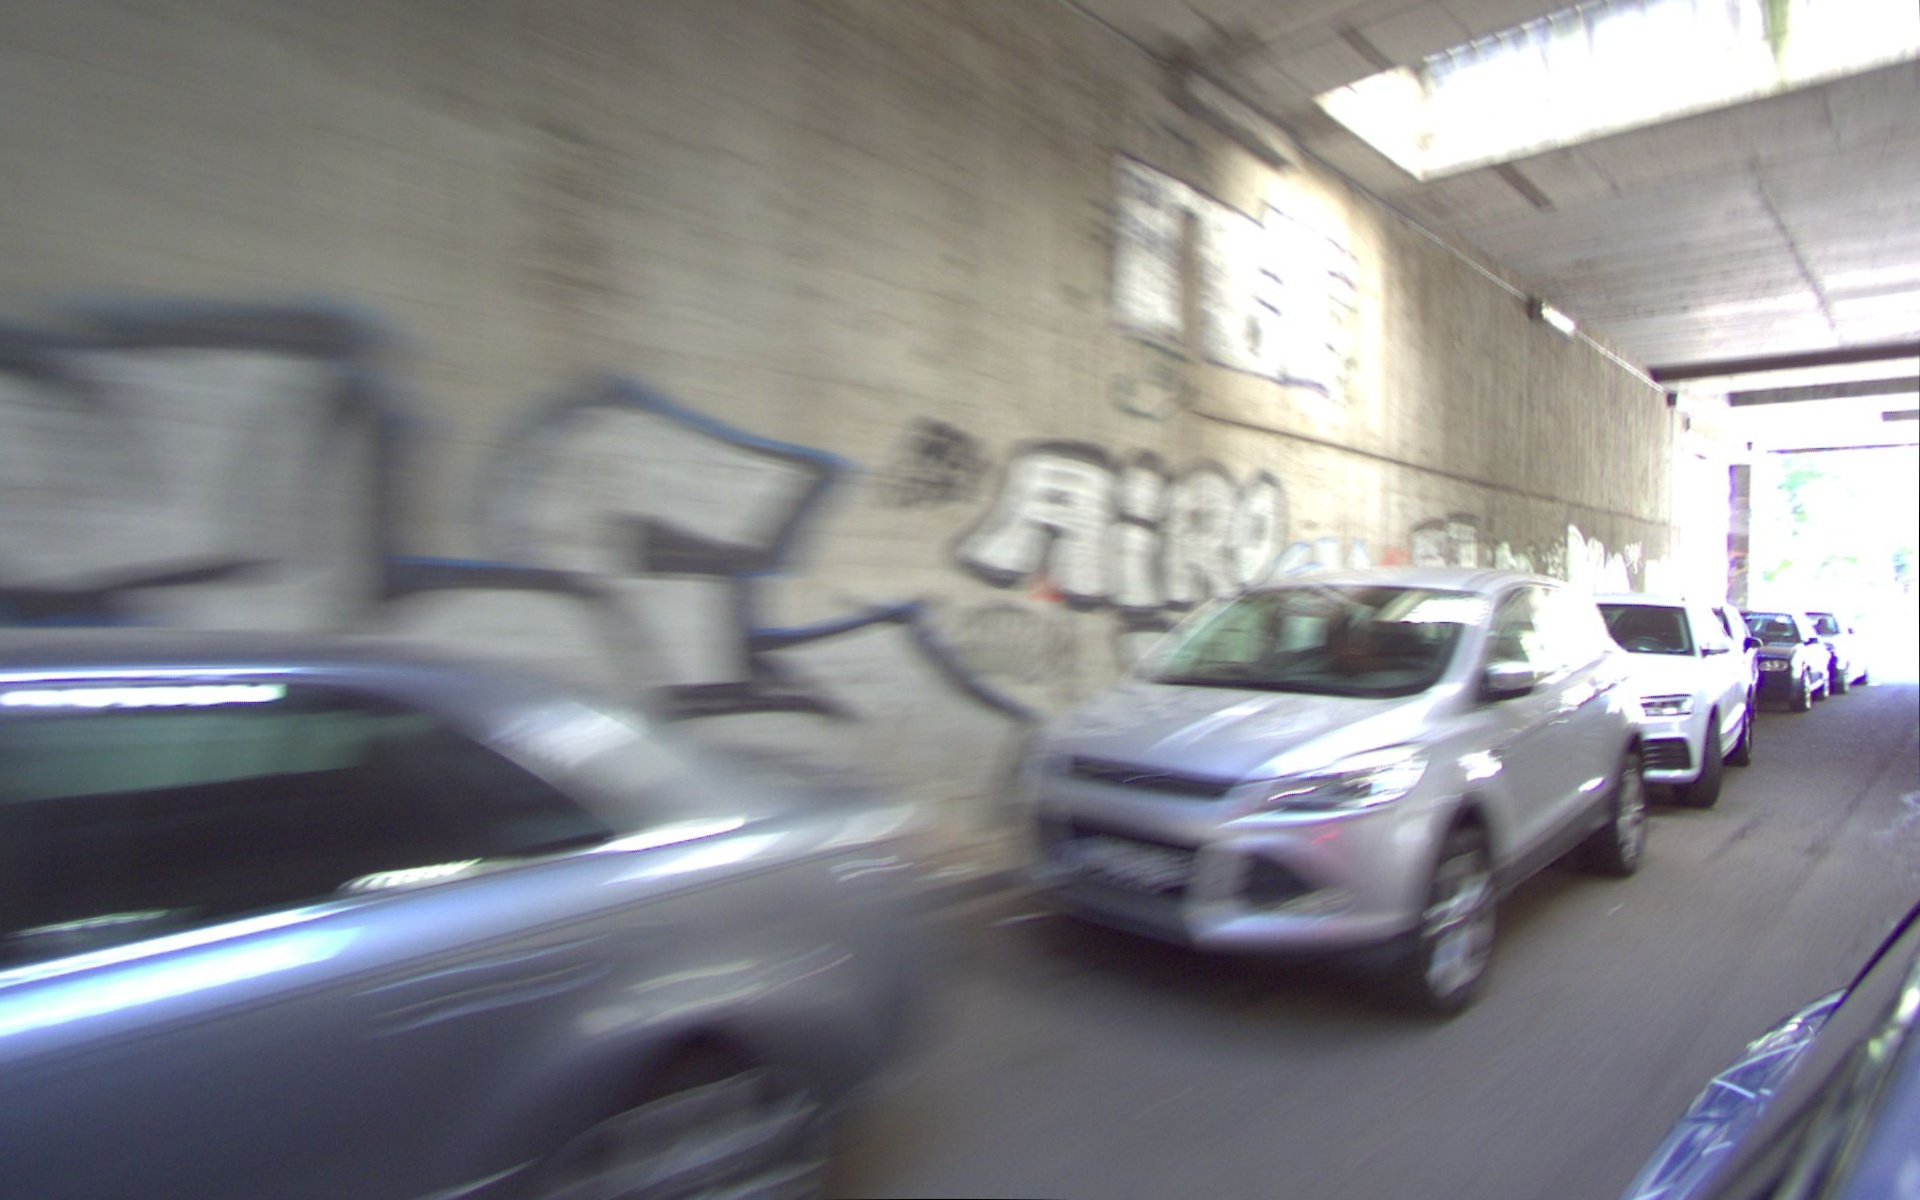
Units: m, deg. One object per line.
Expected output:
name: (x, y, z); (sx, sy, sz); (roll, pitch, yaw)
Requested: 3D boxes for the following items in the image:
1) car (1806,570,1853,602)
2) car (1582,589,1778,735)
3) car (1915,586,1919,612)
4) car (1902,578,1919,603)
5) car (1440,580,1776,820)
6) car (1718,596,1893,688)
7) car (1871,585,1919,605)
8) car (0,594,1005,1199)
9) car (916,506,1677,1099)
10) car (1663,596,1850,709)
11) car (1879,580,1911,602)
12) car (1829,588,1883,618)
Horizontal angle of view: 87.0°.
car: (57.810, -0.905, 67.312); (1.985, 2.055, 4.247); (1, 0, 36)
car: (9.039, 0.639, 12.605); (1.602, 1.506, 3.583); (1, 2, 42)
car: (72.267, -0.078, 74.996); (1.768, 1.905, 3.945); (1, 1, 38)
car: (76.039, -0.746, 80.094); (1.768, 1.905, 3.945); (1, 1, 38)
car: (5.755, 0.615, 8.759); (1.729, 1.565, 4.091); (1, 2, 43)
car: (15.668, 0.686, 18.669); (4.528, 1.451, 1.854); (-1, 0, -42)
car: (81.111, -0.430, 86.995); (3.978, 1.606, 1.793); (1, -1, 38)
car: (-2.009, 0.695, 1.595); (4.302, 1.392, 1.702); (0, 0, -44)
car: (1.995, 0.573, 5.059); (4.298, 1.687, 1.854); (0, 0, -44)
car: (12.241, 0.685, 15.456); (3.997, 1.428, 1.762); (-1, 2, -45)
car: (84.212, -0.817, 91.155); (1.768, 1.905, 3.945); (1, 1, 38)
car: (49.575, 0.178, 56.063); (1.769, 1.459, 3.948); (5, 2, 36)
